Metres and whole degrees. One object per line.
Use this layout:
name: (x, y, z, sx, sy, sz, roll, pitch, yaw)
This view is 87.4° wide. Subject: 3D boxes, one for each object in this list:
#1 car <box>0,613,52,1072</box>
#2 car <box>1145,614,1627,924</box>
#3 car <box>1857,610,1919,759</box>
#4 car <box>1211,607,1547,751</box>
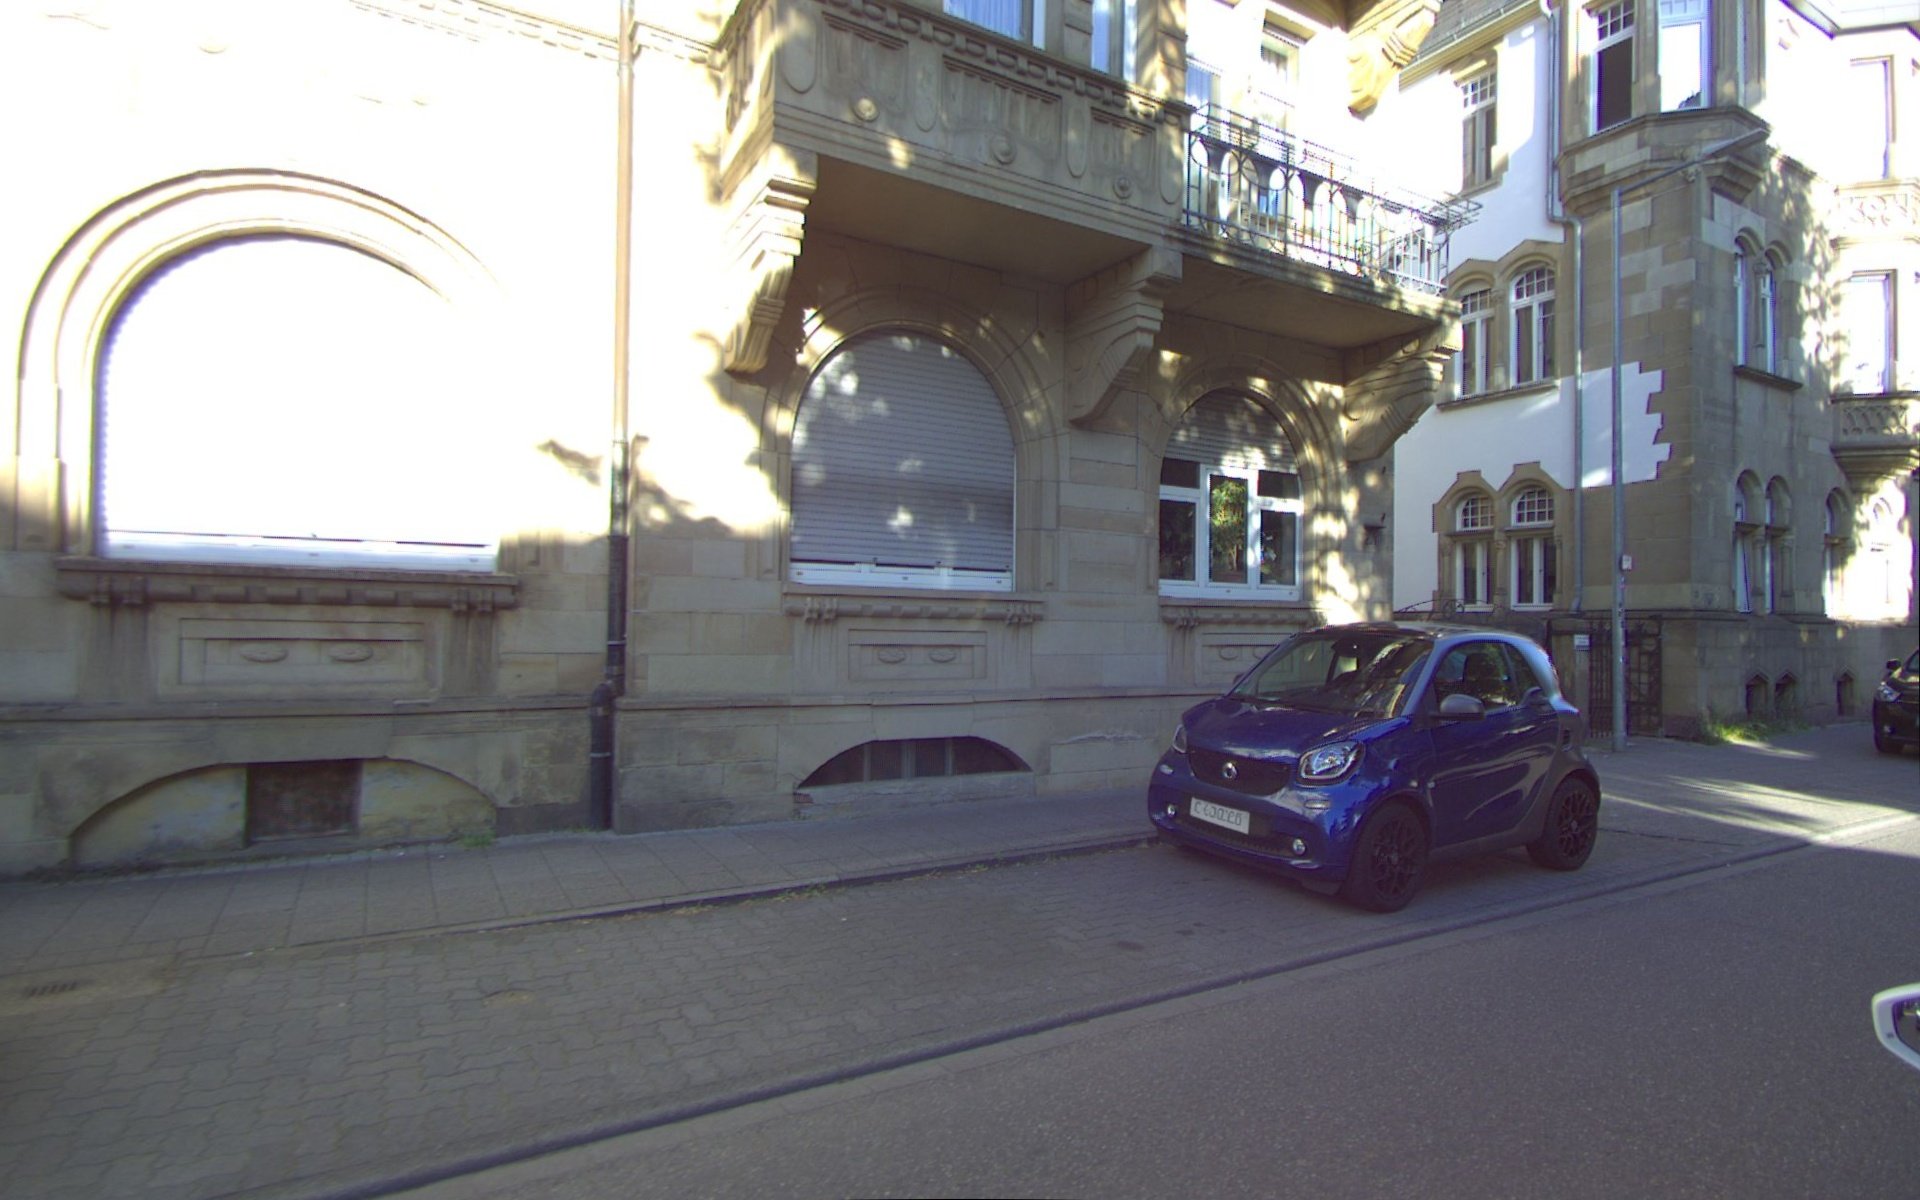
car: (-4.832, 0.753, 1.780, 4.496, 1.449, 1.667, 1, 1, -30)
car: (2.772, 0.892, 6.527, 2.706, 1.509, 1.587, 1, 2, -32)
car: (13.773, 1.078, 13.231, 4.302, 1.807, 1.633, 1, 1, -30)
car: (5.647, 0.969, 14.077, 1.699, 1.690, 4.177, 1, -1, -31)
